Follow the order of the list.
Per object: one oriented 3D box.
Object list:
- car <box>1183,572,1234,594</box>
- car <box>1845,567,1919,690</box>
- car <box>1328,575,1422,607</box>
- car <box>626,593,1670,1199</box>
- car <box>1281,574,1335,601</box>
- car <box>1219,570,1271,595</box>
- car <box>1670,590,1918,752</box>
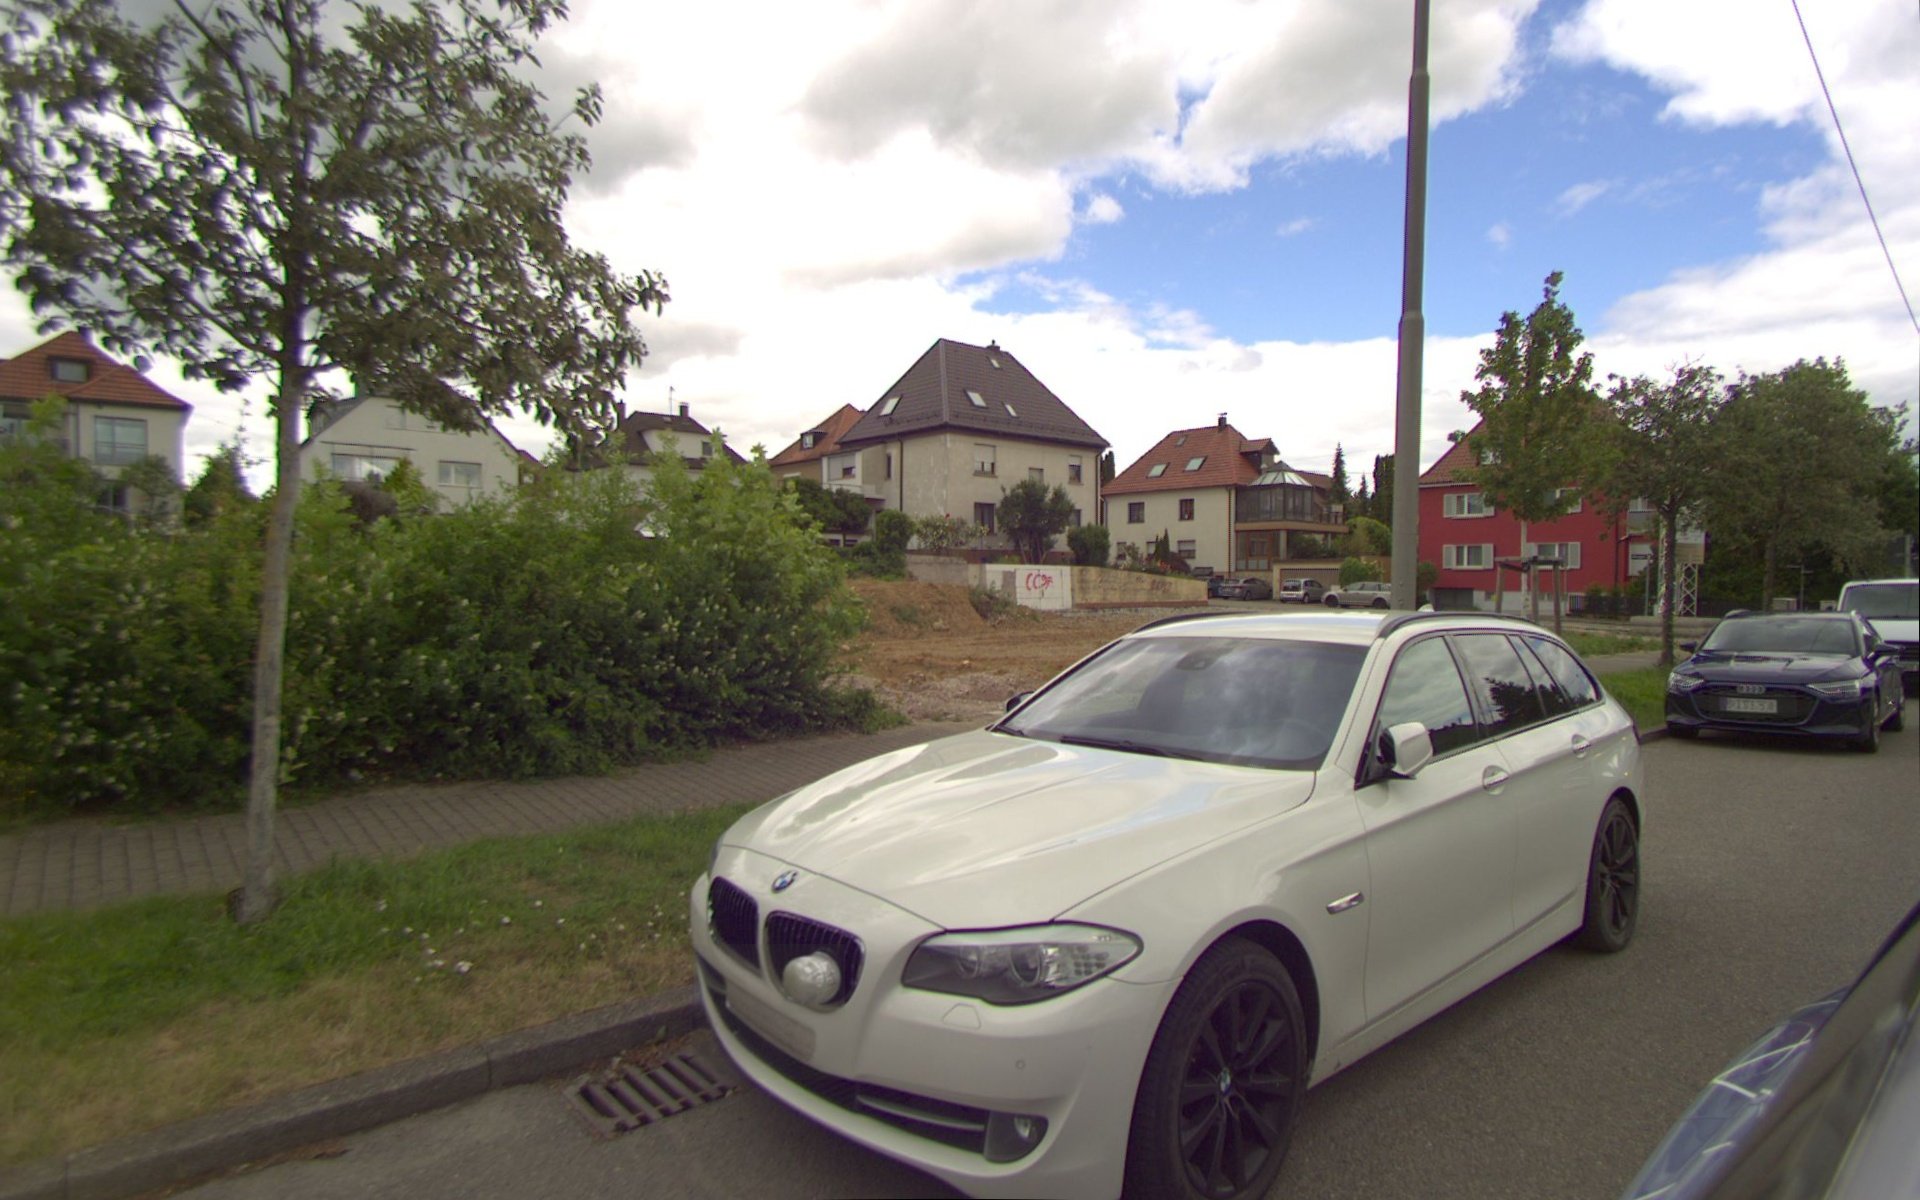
[{"bbox_3d":[16.286,-1.104,66.362,3.442,1.341,1.619,-1,0,-43],"label":"car"},{"bbox_3d":[17.044,0.453,17.744,4.707,1.968,1.777,0,0,-42],"label":"car"},{"bbox_3d":[21.959,-0.484,53.688,1.730,1.442,4.226,2,2,-42],"label":"car"},{"bbox_3d":[1.130,0.729,3.948,4.327,1.472,1.696,0,-1,-41],"label":"car"},{"bbox_3d":[20.857,-0.741,60.611,3.442,1.560,1.619,-1,0,-43],"label":"car"},{"bbox_3d":[18.141,-1.104,64.253,3.442,1.486,1.619,-1,0,-43],"label":"car"},{"bbox_3d":[9.650,0.667,11.595,4.149,1.535,1.667,0,0,-43],"label":"car"}]
